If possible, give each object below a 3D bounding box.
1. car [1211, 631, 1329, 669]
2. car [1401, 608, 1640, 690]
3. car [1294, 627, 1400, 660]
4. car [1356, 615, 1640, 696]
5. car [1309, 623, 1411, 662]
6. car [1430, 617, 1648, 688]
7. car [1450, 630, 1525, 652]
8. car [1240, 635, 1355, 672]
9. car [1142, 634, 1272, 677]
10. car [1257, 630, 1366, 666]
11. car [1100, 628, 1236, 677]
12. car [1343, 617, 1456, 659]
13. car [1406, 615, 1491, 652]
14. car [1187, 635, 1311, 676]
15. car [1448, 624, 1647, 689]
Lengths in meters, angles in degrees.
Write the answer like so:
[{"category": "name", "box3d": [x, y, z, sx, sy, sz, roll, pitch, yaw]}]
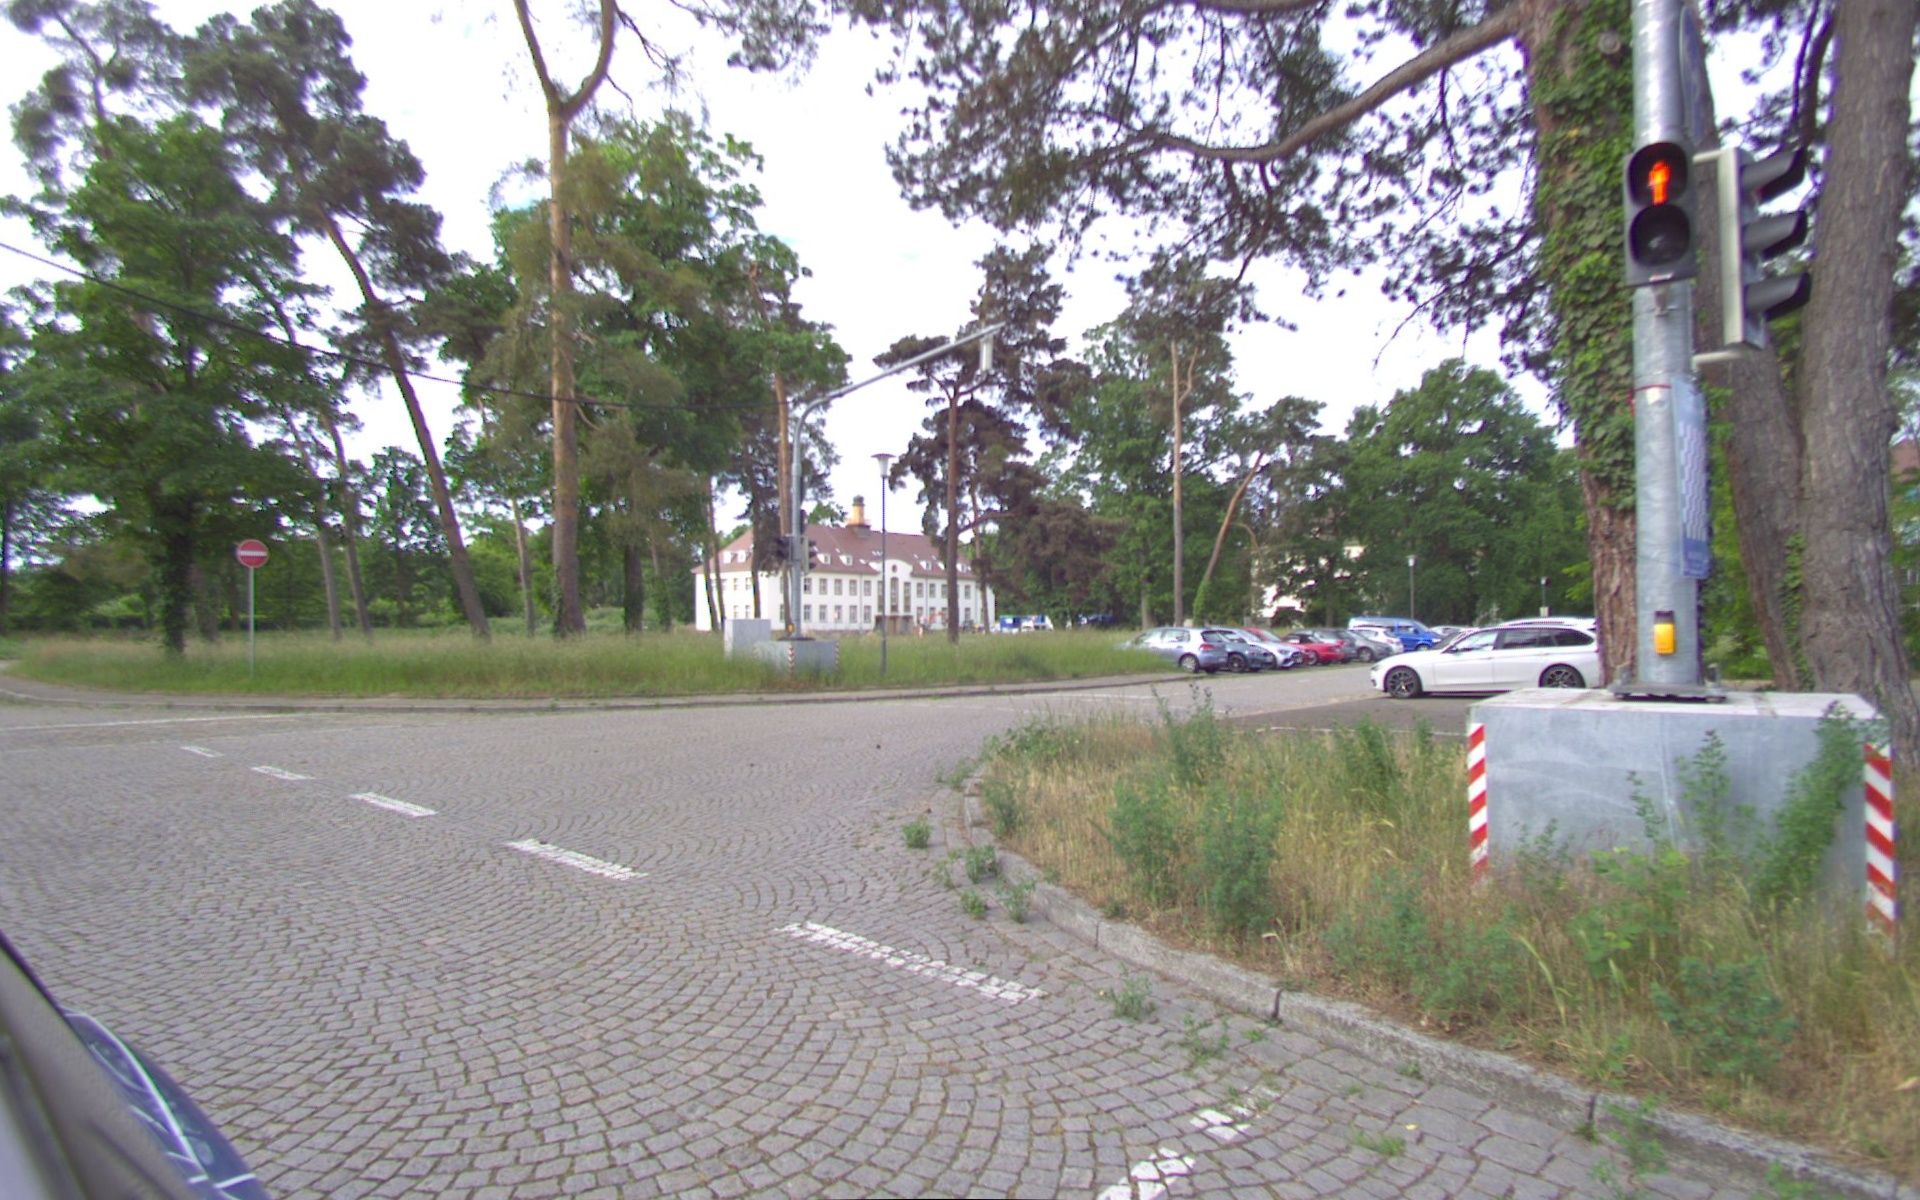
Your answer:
[{"category": "car", "box3d": [11.814, 1.880, 38.676, 3.999, 1.364, 1.667, -2, -2, 42]}, {"category": "car", "box3d": [12.278, 1.107, 22.310, 4.319, 1.596, 1.804, -5, -4, 37]}, {"category": "car", "box3d": [16.845, 1.880, 44.112, 3.999, 1.364, 1.667, -2, -2, 42]}, {"category": "car", "box3d": [10.623, 1.141, 20.192, 4.733, 1.453, 1.792, -4, -4, 38]}, {"category": "car", "box3d": [18.411, 1.970, 46.700, 4.000, 1.727, 1.667, -3, -3, 43]}, {"category": "car", "box3d": [13.953, 1.299, 24.515, 4.319, 1.513, 1.837, -5, -4, 37]}, {"category": "car", "box3d": [33.935, 2.602, 65.204, 3.999, 1.364, 1.667, -2, -2, 42]}, {"category": "car", "box3d": [13.316, 2.074, 40.082, 3.999, 1.364, 1.667, -2, -2, 42]}, {"category": "car", "box3d": [8.398, 1.859, 34.552, 3.999, 1.364, 1.667, -2, -2, 42]}, {"category": "car", "box3d": [14.691, 1.975, 42.412, 3.999, 1.449, 1.667, -2, -2, 42]}, {"category": "car", "box3d": [6.674, 1.652, 32.711, 3.996, 1.484, 1.668, -2, -2, 40]}, {"category": "car", "box3d": [21.906, 1.942, 50.539, 4.791, 1.996, 1.970, -3, -3, 41]}, {"category": "car", "box3d": [27.625, 1.883, 57.287, 3.994, 2.029, 1.847, -1, -2, 38]}, {"category": "car", "box3d": [10.372, 1.956, 36.462, 3.999, 1.364, 1.667, -2, -2, 42]}, {"category": "car", "box3d": [15.331, 1.436, 26.513, 4.319, 1.578, 1.776, -2, -2, 37]}]
